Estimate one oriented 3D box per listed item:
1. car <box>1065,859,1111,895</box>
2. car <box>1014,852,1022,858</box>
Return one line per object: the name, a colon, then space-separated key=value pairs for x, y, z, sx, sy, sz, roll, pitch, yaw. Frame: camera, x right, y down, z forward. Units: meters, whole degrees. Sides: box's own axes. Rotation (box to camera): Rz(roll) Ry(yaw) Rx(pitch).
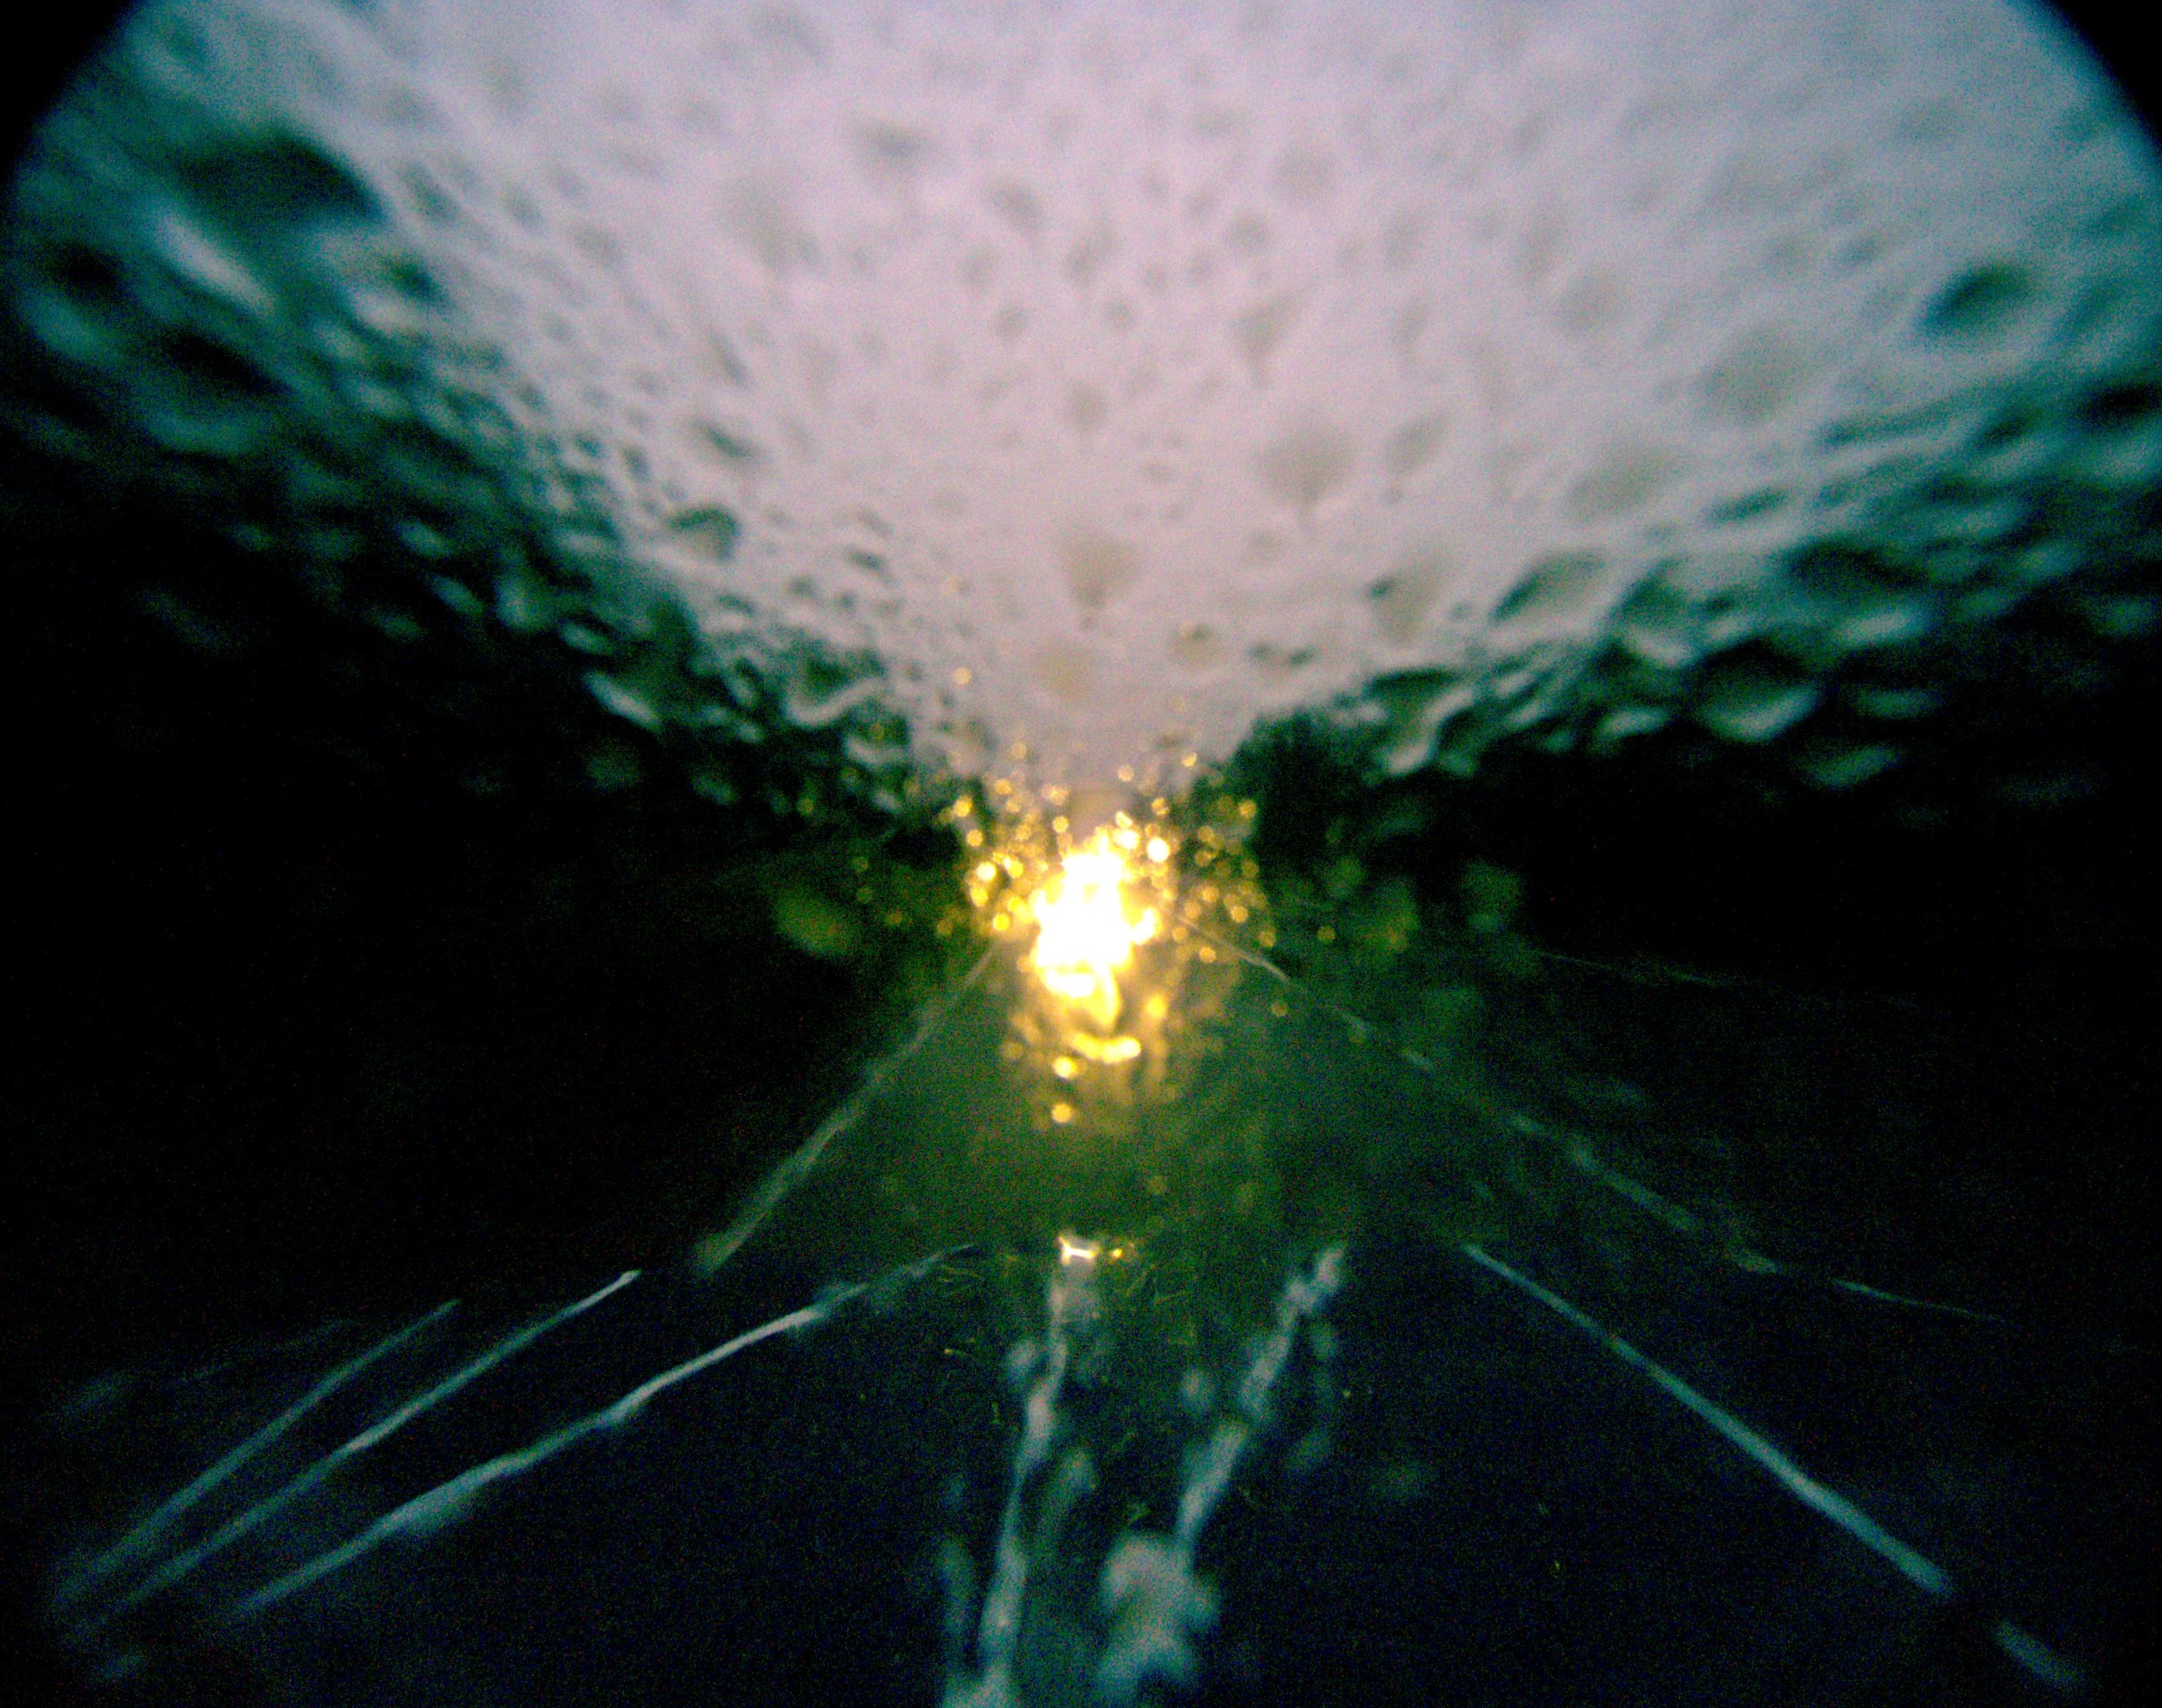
car: x=0.239 y=0.949 z=32.994 sx=1.850 sy=1.429 sz=4.244 roll=0 pitch=0 yaw=-1
car: x=-16.083 y=0.197 z=193.544 sx=1.810 sy=1.445 sz=4.374 roll=-3 pitch=1 yaw=-9
